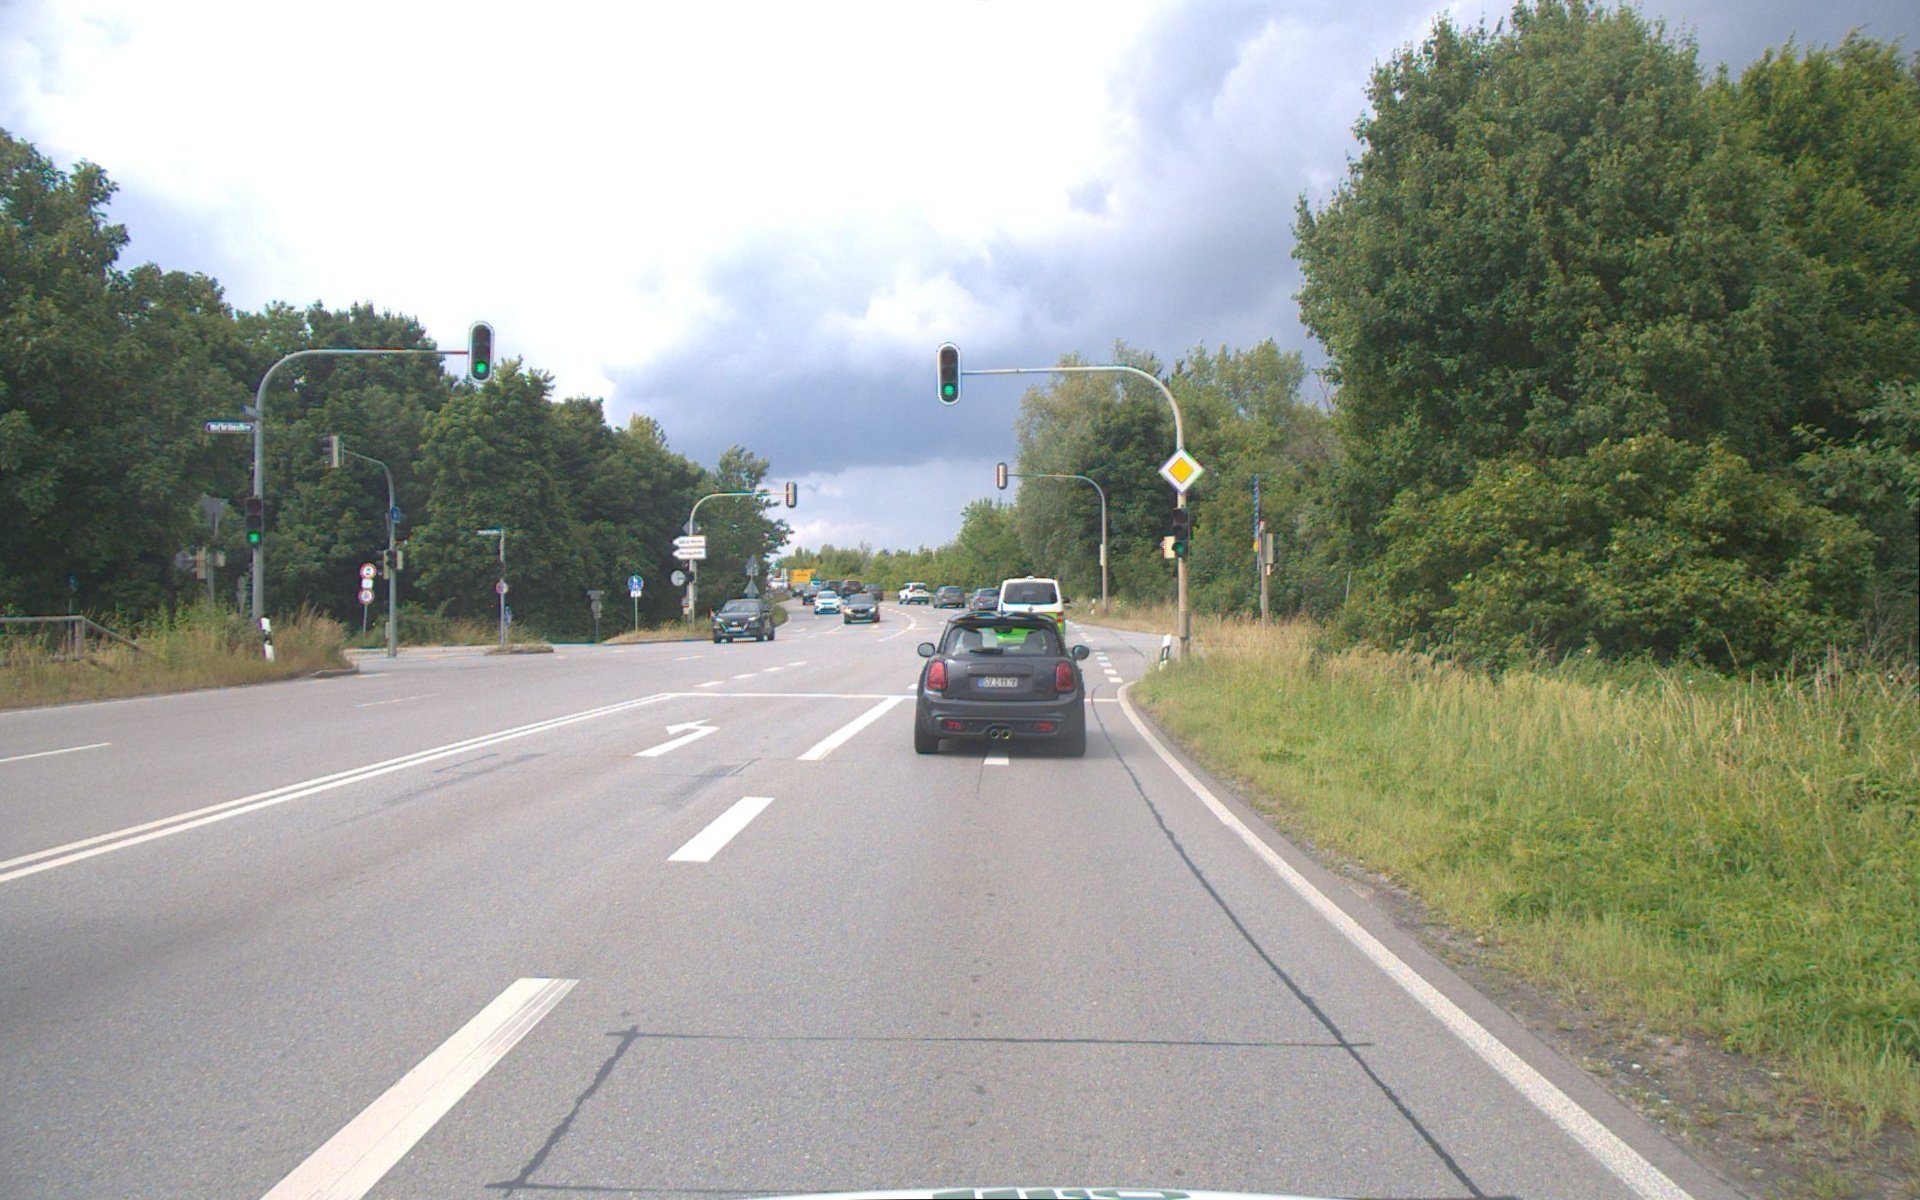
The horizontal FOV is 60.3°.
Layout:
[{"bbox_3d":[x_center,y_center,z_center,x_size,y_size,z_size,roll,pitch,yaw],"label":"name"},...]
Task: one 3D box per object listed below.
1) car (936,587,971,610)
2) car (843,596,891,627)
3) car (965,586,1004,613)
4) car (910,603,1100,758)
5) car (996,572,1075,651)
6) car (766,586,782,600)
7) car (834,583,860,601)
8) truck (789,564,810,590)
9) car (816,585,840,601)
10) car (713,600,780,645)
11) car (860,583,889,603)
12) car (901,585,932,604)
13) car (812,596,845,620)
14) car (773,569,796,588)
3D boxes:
[{"bbox_3d":[-0.481,-0.094,113.577,1.955,1.502,4.479,0,0,-7],"label":"car"},{"bbox_3d":[-4.922,0.586,87.925,1.750,1.556,4.906,-3,0,5],"label":"car"},{"bbox_3d":[1.367,-0.035,95.800,1.954,1.502,4.482,0,0,-3],"label":"car"},{"bbox_3d":[0.433,0.774,17.752,1.807,1.453,3.841,1,0,0],"label":"car"},{"bbox_3d":[2.107,0.270,44.996,1.805,2.021,3.844,0,1,8],"label":"car"},{"bbox_3d":[-23.010,-0.905,204.471,1.956,1.641,3.994,-1,1,-7],"label":"car"},{"bbox_3d":[-11.210,-0.755,163.496,1.958,1.725,4.472,0,0,-12],"label":"car"},{"bbox_3d":[-20.999,-2.930,216.697,2.664,2.949,8.758,1,-2,-6],"label":"truck"},{"bbox_3d":[-14.367,-0.748,179.730,1.960,1.725,4.469,0,0,-14],"label":"car"},{"bbox_3d":[-7.756,0.792,60.422,1.754,1.601,4.001,0,0,3],"label":"car"},{"bbox_3d":[-7.759,-0.597,149.272,1.958,1.725,4.472,0,0,-12],"label":"car"},{"bbox_3d":[-3.464,-0.440,130.997,1.957,1.502,4.476,0,0,-9],"label":"car"},{"bbox_3d":[-8.953,0.531,112.764,1.693,1.531,4.348,-1,0,3],"label":"car"},{"bbox_3d":[-16.586,-2.055,156.521,1.957,1.720,3.992,-1,1,-9],"label":"car"}]
